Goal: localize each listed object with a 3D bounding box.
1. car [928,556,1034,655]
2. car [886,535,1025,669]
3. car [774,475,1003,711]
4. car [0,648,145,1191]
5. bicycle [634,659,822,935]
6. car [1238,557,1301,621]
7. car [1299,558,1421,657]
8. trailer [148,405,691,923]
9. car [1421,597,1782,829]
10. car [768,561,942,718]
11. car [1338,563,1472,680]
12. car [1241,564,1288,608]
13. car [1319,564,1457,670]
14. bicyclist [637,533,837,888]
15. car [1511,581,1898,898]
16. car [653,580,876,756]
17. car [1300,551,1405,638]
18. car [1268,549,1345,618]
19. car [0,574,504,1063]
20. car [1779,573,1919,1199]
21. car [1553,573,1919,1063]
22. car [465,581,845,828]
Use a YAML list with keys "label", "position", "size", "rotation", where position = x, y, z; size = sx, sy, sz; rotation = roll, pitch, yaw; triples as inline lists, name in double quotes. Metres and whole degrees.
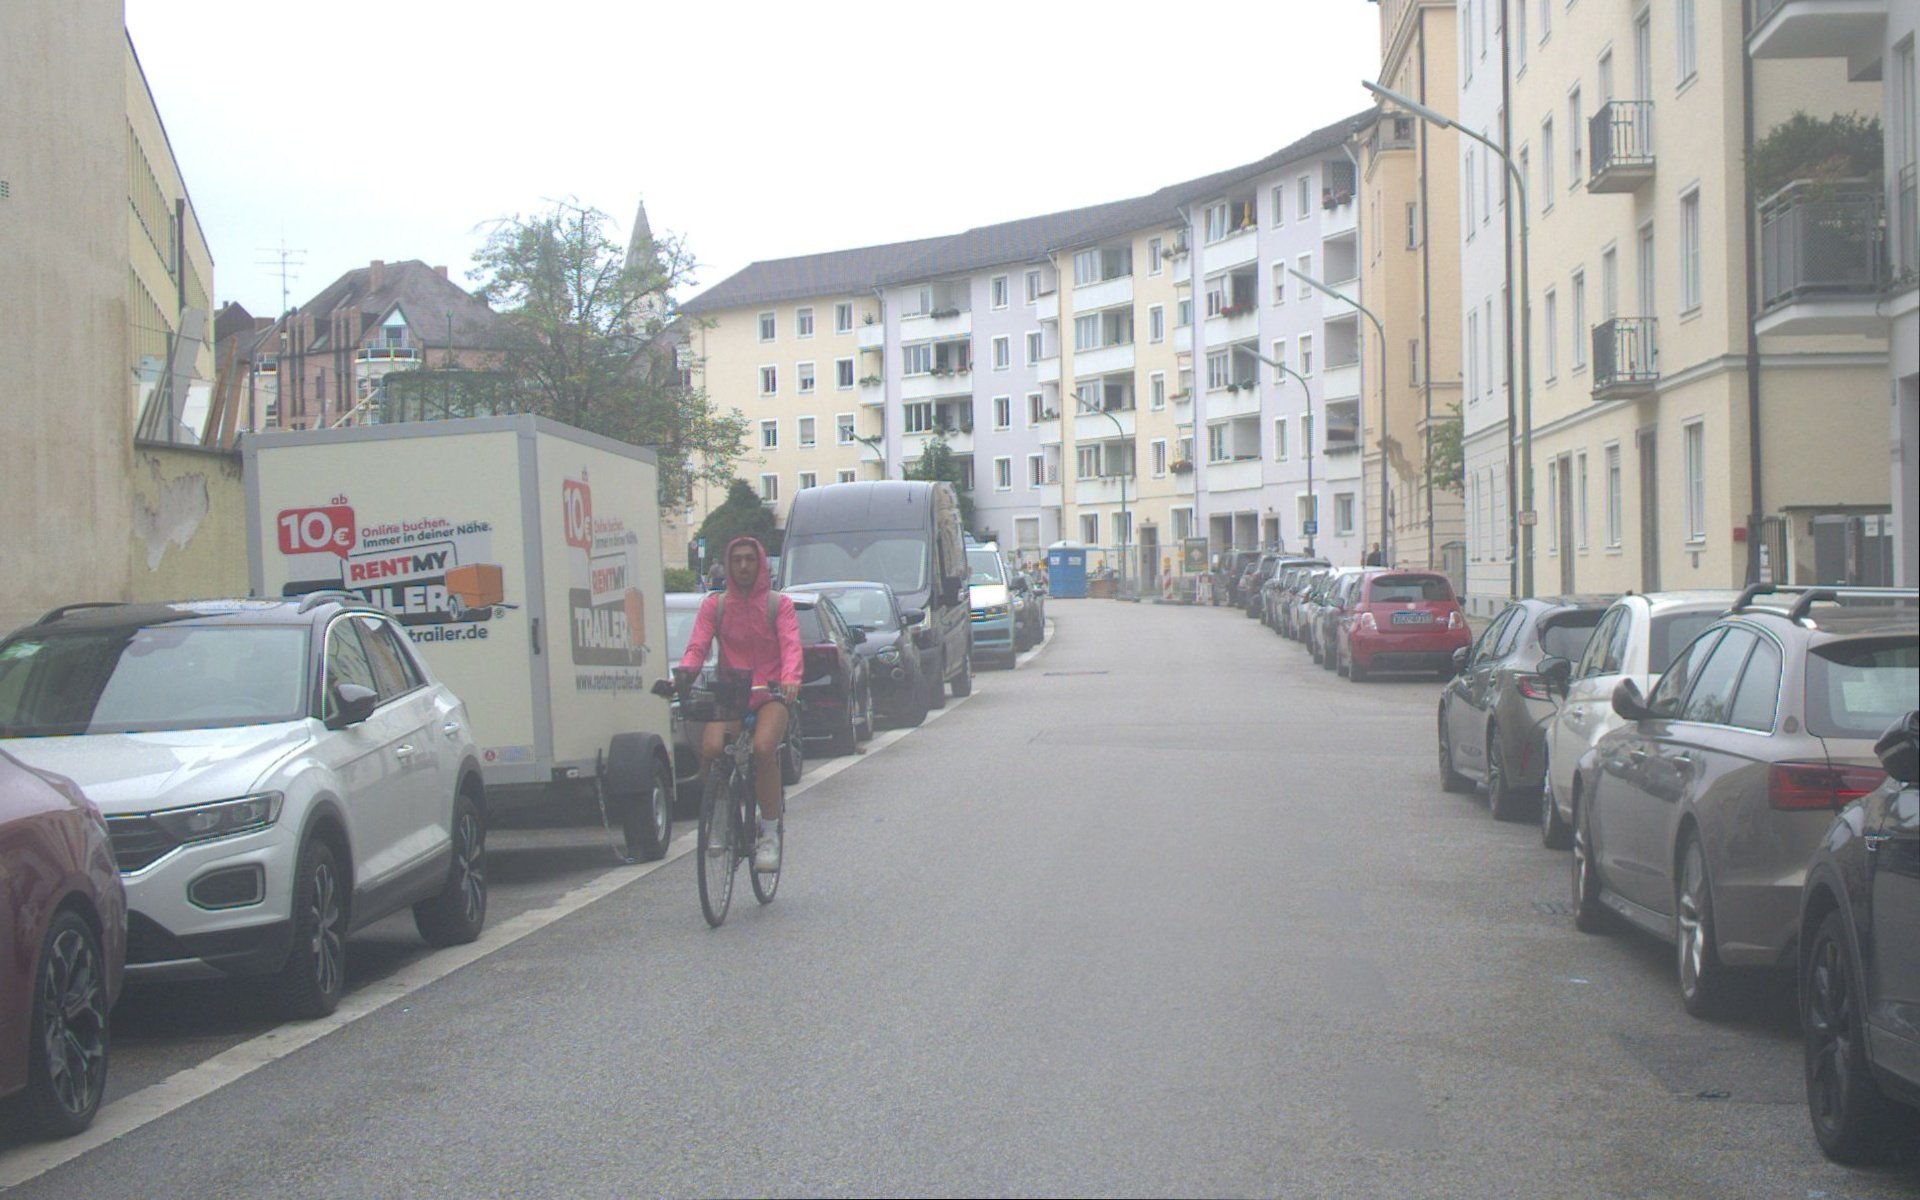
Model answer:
- label: "car"
  position: [0.423, 0.075, 63.923]
  size: [1.702, 1.685, 4.028]
  rotation: [-3, 1, 3]
- label: "car"
  position: [-0.029, -0.013, 54.123]
  size: [1.883, 1.925, 4.601]
  rotation: [-3, 1, 3]
- label: "car"
  position: [-0.773, -0.133, 41.249]
  size: [2.088, 2.627, 5.376]
  rotation: [-1, 1, 6]
- label: "car"
  position: [-3.519, 0.890, 8.243]
  size: [1.861, 1.408, 4.333]
  rotation: [-3, 0, 3]
- label: "bicycle"
  position: [-1.039, 0.868, 15.752]
  size: [0.504, 1.124, 1.773]
  rotation: [-2, 1, 7]
- label: "car"
  position: [8.274, -0.310, 92.126]
  size: [1.474, 1.635, 4.001]
  rotation: [1, 1, 3]
- label: "car"
  position: [6.617, 0.090, 57.187]
  size: [1.692, 1.486, 4.282]
  rotation: [-1, 1, 3]
- label: "trailer"
  position: [-2.809, 0.284, 18.923]
  size: [1.710, 2.453, 4.385]
  rotation: [-3, 1, 7]
- label: "car"
  position: [4.217, 0.694, 23.180]
  size: [1.763, 1.403, 4.078]
  rotation: [0, 0, 2]
- label: "car"
  position: [-1.058, 0.404, 36.110]
  size: [1.585, 1.533, 3.543]
  rotation: [-1, 0, 2]
- label: "car"
  position: [6.040, 0.259, 47.003]
  size: [1.595, 1.503, 3.800]
  rotation: [-1, 1, 4]
- label: "car"
  position: [9.202, -0.429, 104.039]
  size: [1.272, 1.294, 2.797]
  rotation: [0, 1, 3]
- label: "car"
  position: [6.359, 0.232, 51.448]
  size: [1.692, 1.486, 4.342]
  rotation: [-1, 0, 3]
- label: "bicyclist"
  position: [-1.008, 0.485, 15.721]
  size: [0.694, 1.556, 0.966]
  rotation: [-2, 1, 7]
- label: "car"
  position: [3.949, 0.676, 18.708]
  size: [1.519, 1.525, 3.526]
  rotation: [1, 1, 3]
- label: "car"
  position: [-1.717, 0.570, 31.307]
  size: [1.701, 1.441, 3.825]
  rotation: [0, 1, 2]
- label: "car"
  position: [7.124, -0.121, 62.716]
  size: [1.599, 1.486, 3.799]
  rotation: [0, 1, 2]
- label: "car"
  position: [8.247, -0.424, 82.133]
  size: [1.591, 1.577, 4.299]
  rotation: [1, 1, 3]
- label: "car"
  position: [-3.054, 0.746, 13.650]
  size: [1.687, 1.597, 3.921]
  rotation: [-3, 1, 3]
- label: "car"
  position: [3.017, 0.731, 7.589]
  size: [1.604, 1.525, 3.984]
  rotation: [2, 1, 3]
- label: "car"
  position: [3.454, 0.692, 13.201]
  size: [1.734, 1.525, 4.621]
  rotation: [2, 1, 3]
- label: "car"
  position: [-2.076, 0.671, 24.740]
  size: [1.767, 1.533, 4.540]
  rotation: [-3, 0, 7]
